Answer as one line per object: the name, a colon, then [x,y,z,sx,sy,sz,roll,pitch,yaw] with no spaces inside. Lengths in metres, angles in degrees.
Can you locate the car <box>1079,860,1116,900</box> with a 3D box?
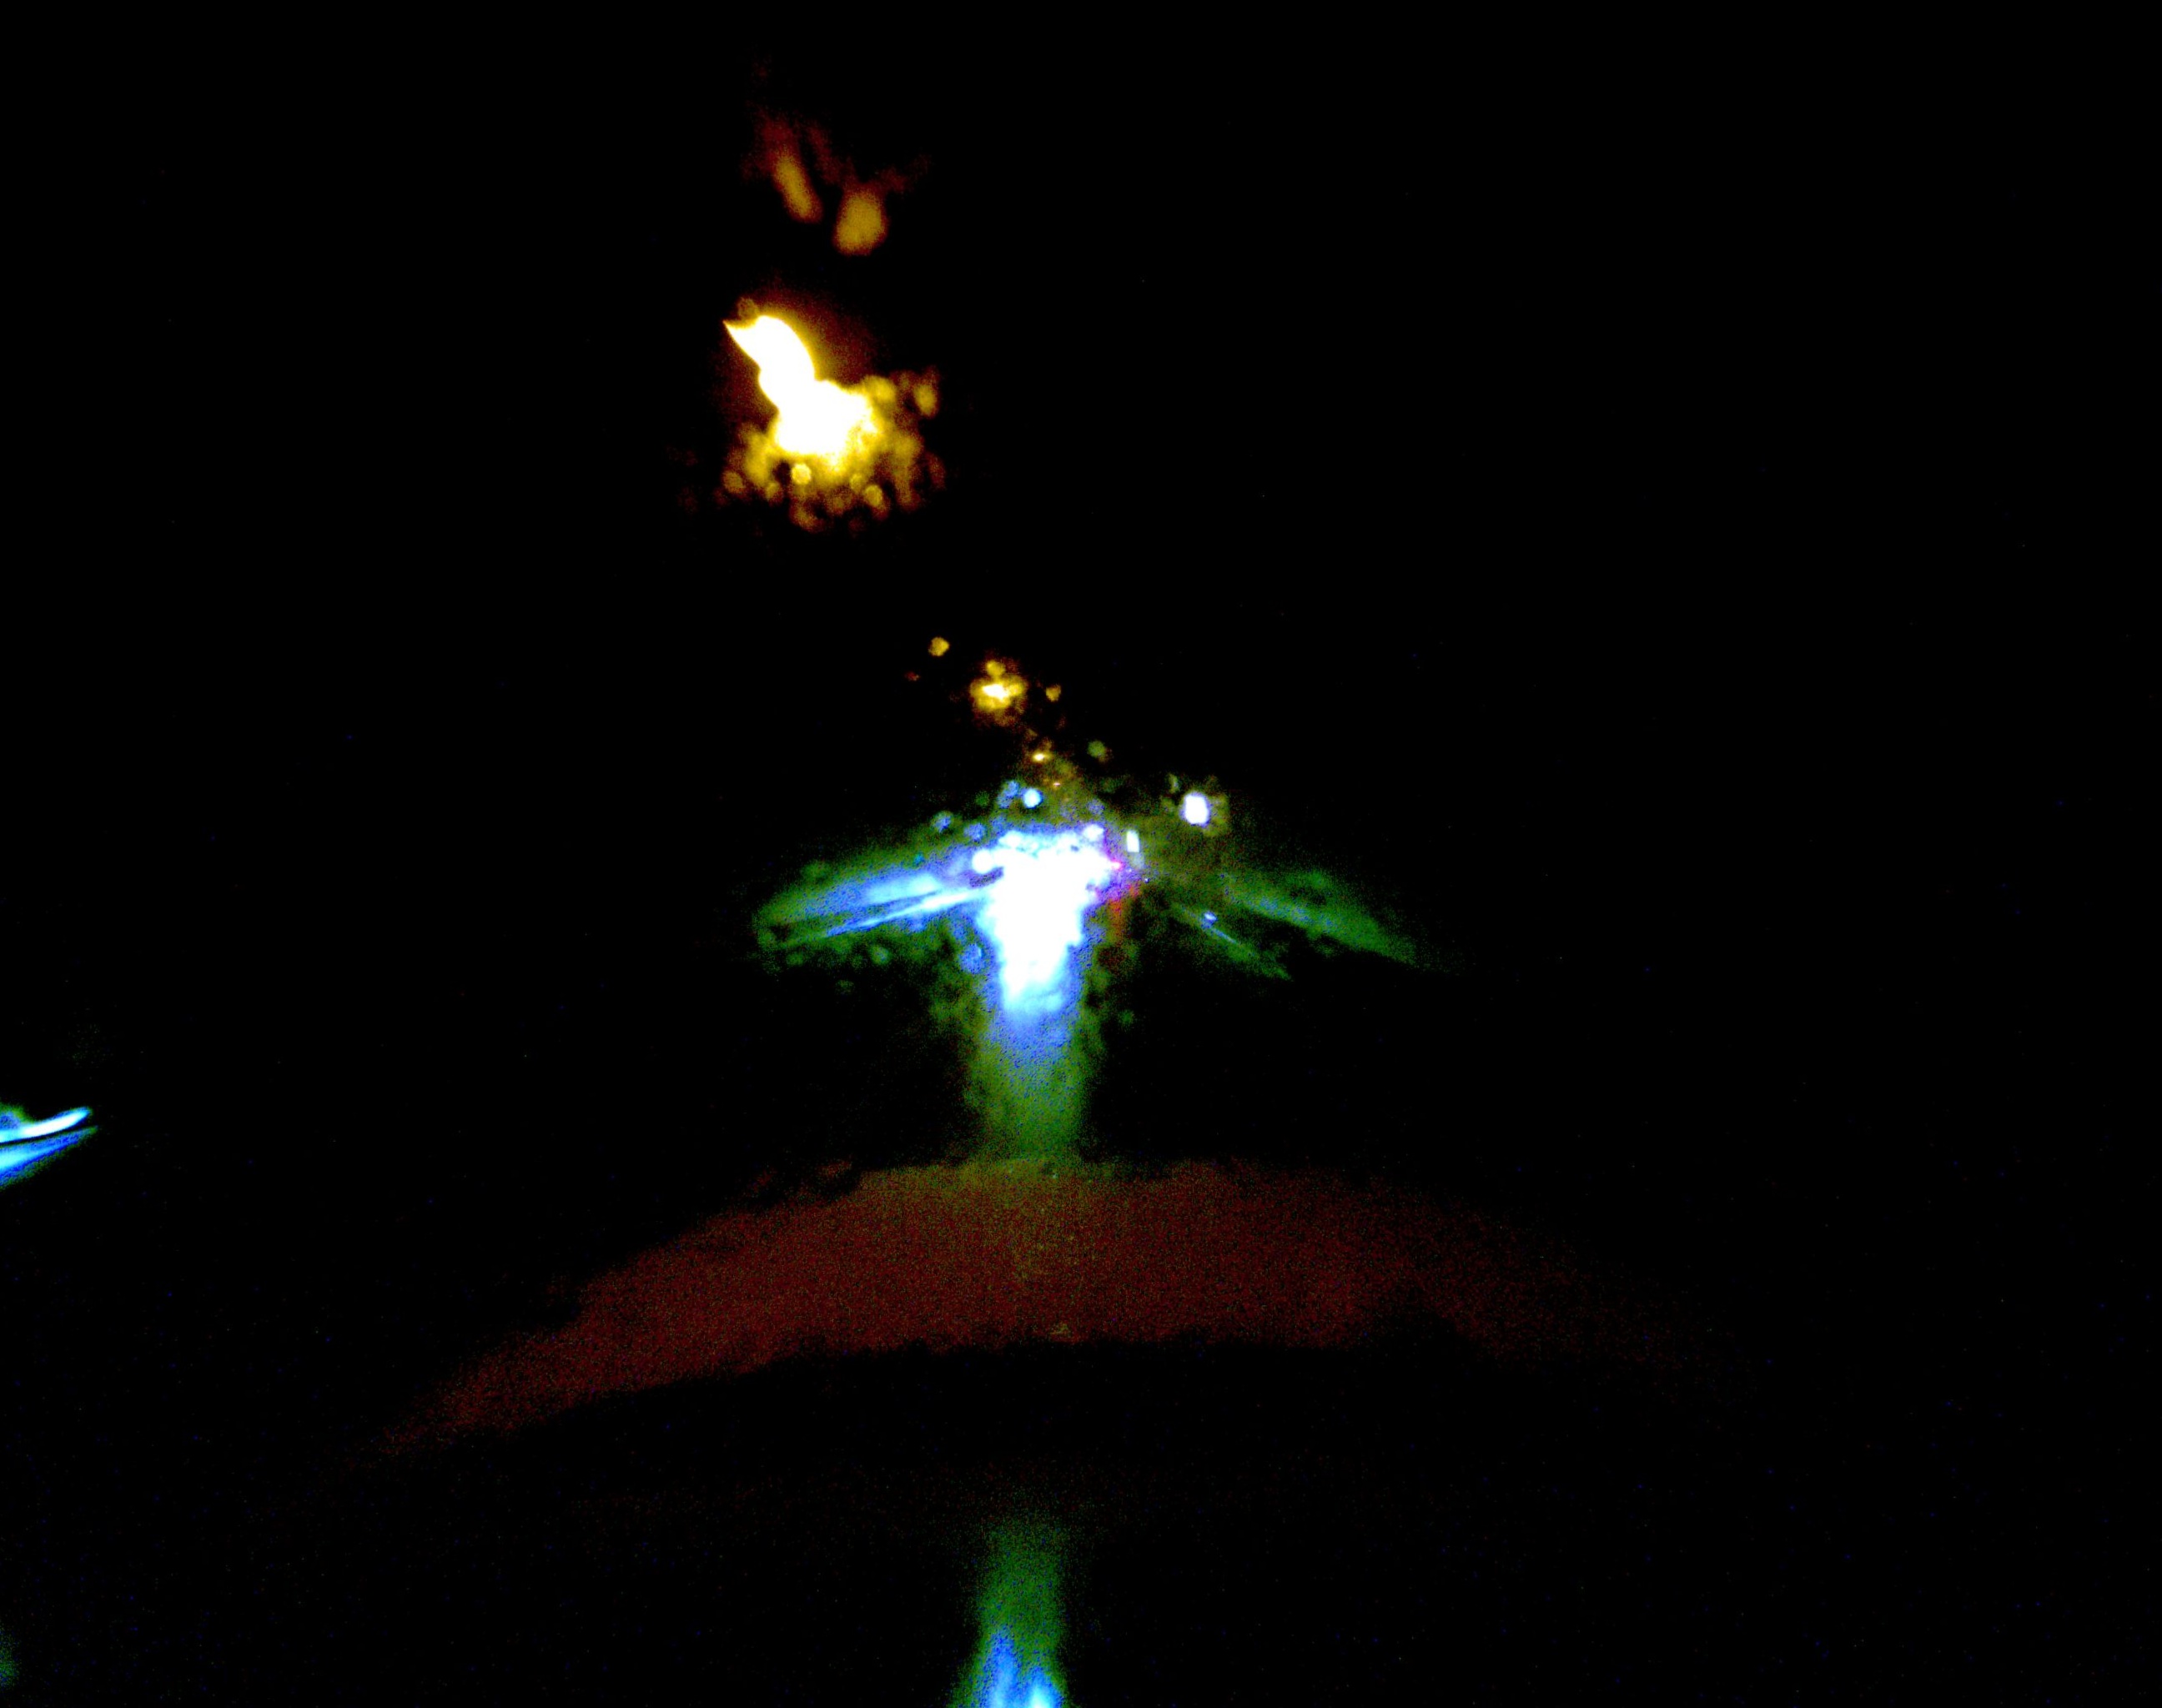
car: [0.813,1.184,38.523,1.629,1.758,4.147,-1,0,2]

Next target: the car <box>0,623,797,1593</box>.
car: [-2.995,0.520,3.221,1.774,1.928,5.140,-1,0,2]

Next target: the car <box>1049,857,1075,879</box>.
car: [-1.607,1.147,67.009,1.910,1.728,3.994,-1,0,-4]

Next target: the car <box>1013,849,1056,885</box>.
car: [-2.297,0.646,41.152,1.774,1.676,4.563,-1,0,2]
